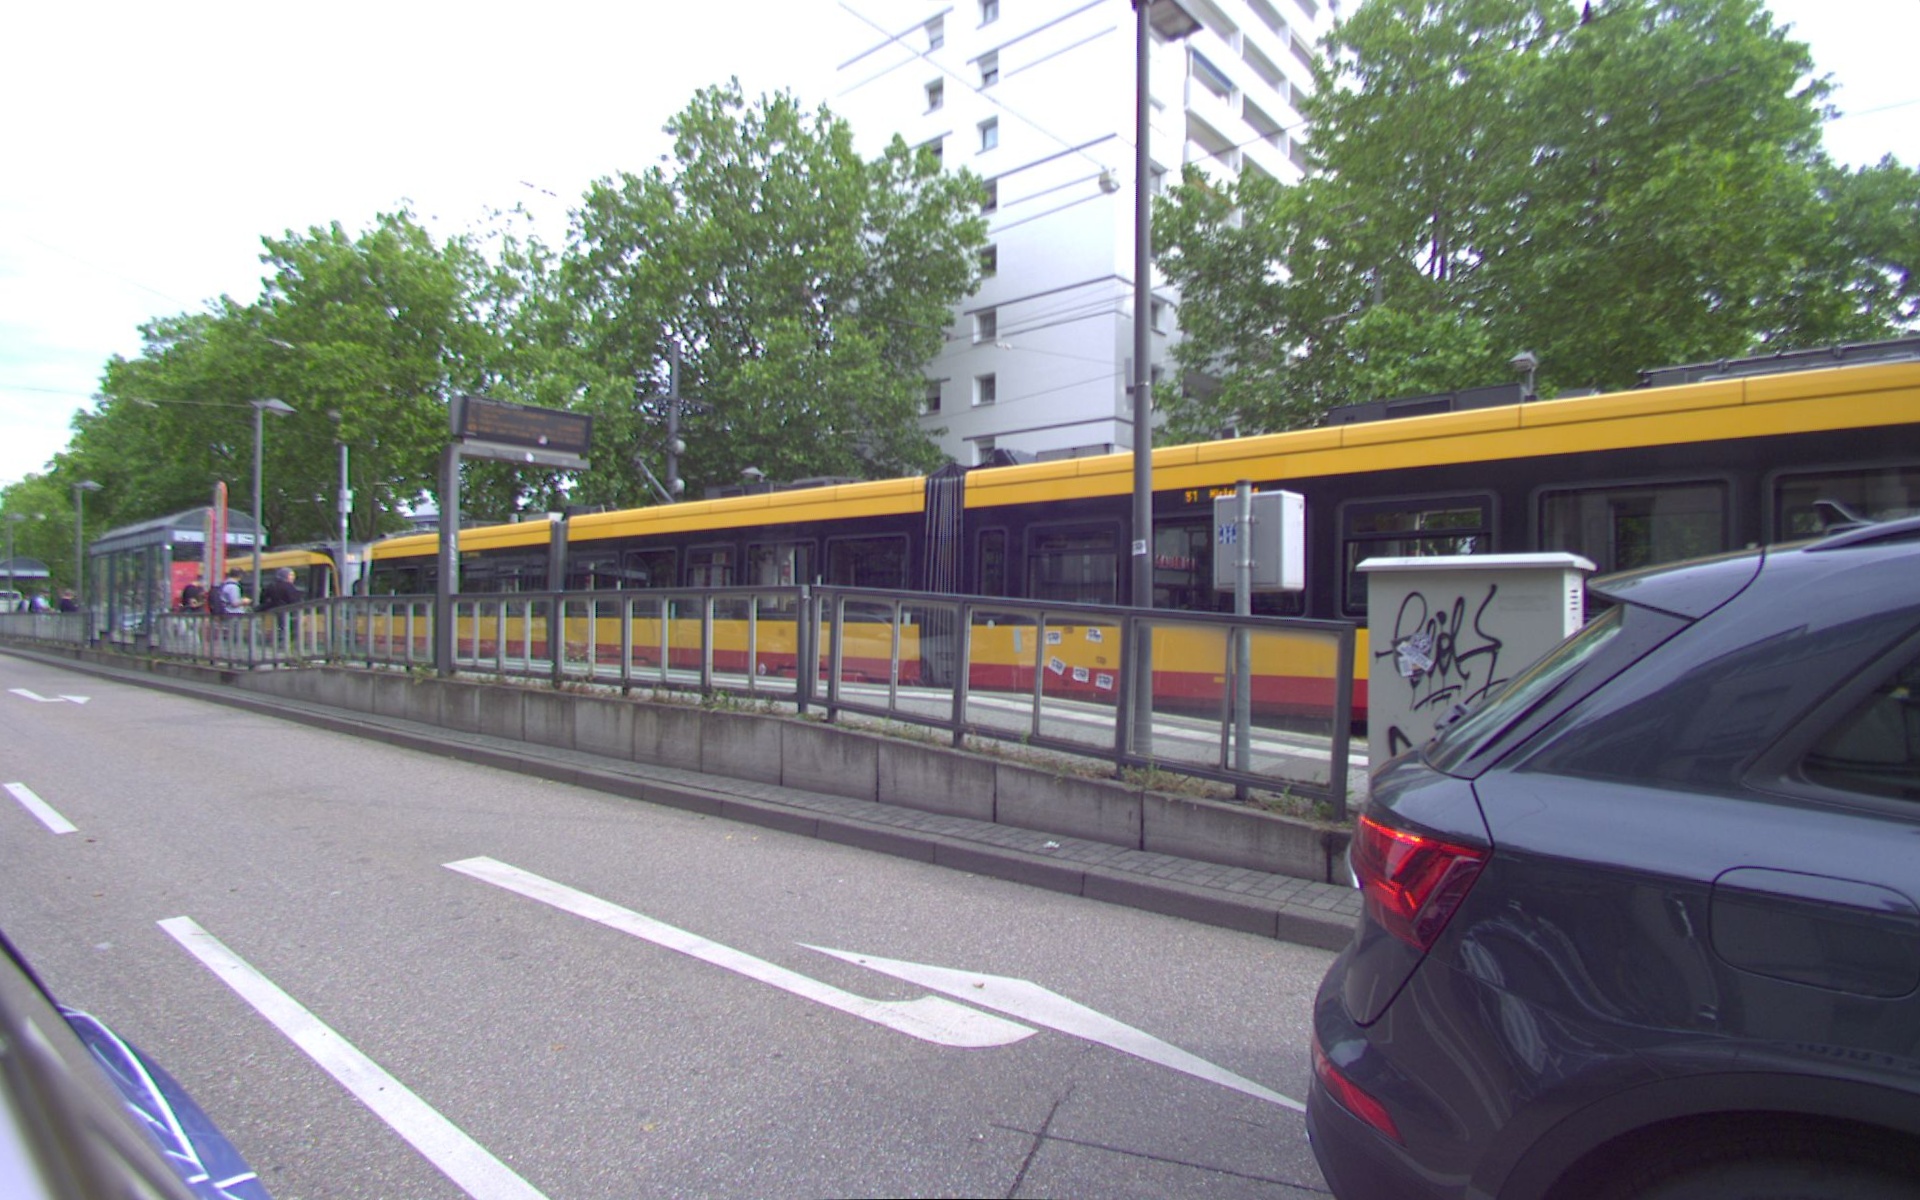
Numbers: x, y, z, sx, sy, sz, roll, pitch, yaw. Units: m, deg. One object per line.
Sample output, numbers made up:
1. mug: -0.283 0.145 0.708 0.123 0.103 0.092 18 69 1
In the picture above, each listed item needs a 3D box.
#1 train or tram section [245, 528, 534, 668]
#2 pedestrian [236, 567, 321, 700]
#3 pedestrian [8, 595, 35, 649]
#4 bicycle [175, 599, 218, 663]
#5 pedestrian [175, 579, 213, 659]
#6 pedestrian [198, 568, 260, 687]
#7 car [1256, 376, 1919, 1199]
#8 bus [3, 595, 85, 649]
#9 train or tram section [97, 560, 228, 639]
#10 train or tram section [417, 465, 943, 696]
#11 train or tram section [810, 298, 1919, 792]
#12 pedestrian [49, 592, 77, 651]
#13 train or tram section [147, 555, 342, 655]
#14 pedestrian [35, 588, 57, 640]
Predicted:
1. train or tram section: -18.528 -0.014 31.907 15.287 3.558 3.028 0 0 41
2. pedestrian: -10.680 0.518 15.890 0.808 2.029 0.754 -1 0 4
3. pedestrian: -36.000 0.844 38.821 0.587 2.029 0.668 -1 0 38
4. bicycle: -15.318 0.608 20.303 1.289 1.231 0.414 -1 0 41
5. pedestrian: -15.964 0.385 21.100 0.471 1.645 0.526 -1 0 39
6. pedestrian: -12.857 0.465 17.816 0.742 2.029 0.821 -1 0 -26
7. car: 2.756 0.535 1.018 4.354 1.613 1.861 -1 0 40
8. bus: -36.536 0.841 40.328 3.998 2.029 1.973 0 0 41
9. train or tram section: -40.798 0.000 51.519 12.534 3.588 3.060 0 0 41
10. train or tram section: -7.040 -0.268 21.796 15.287 3.558 3.028 0 0 41
11. train or tram section: 4.649 -0.389 11.529 15.841 3.615 3.028 0 0 41
12. pedestrian: -25.628 0.613 28.914 0.730 1.645 0.506 -1 0 42
13. train or tram section: -30.189 0.211 42.144 15.764 3.558 3.028 0 0 41
14. pedestrian: -28.978 0.434 32.080 0.392 1.645 0.474 -1 0 42
